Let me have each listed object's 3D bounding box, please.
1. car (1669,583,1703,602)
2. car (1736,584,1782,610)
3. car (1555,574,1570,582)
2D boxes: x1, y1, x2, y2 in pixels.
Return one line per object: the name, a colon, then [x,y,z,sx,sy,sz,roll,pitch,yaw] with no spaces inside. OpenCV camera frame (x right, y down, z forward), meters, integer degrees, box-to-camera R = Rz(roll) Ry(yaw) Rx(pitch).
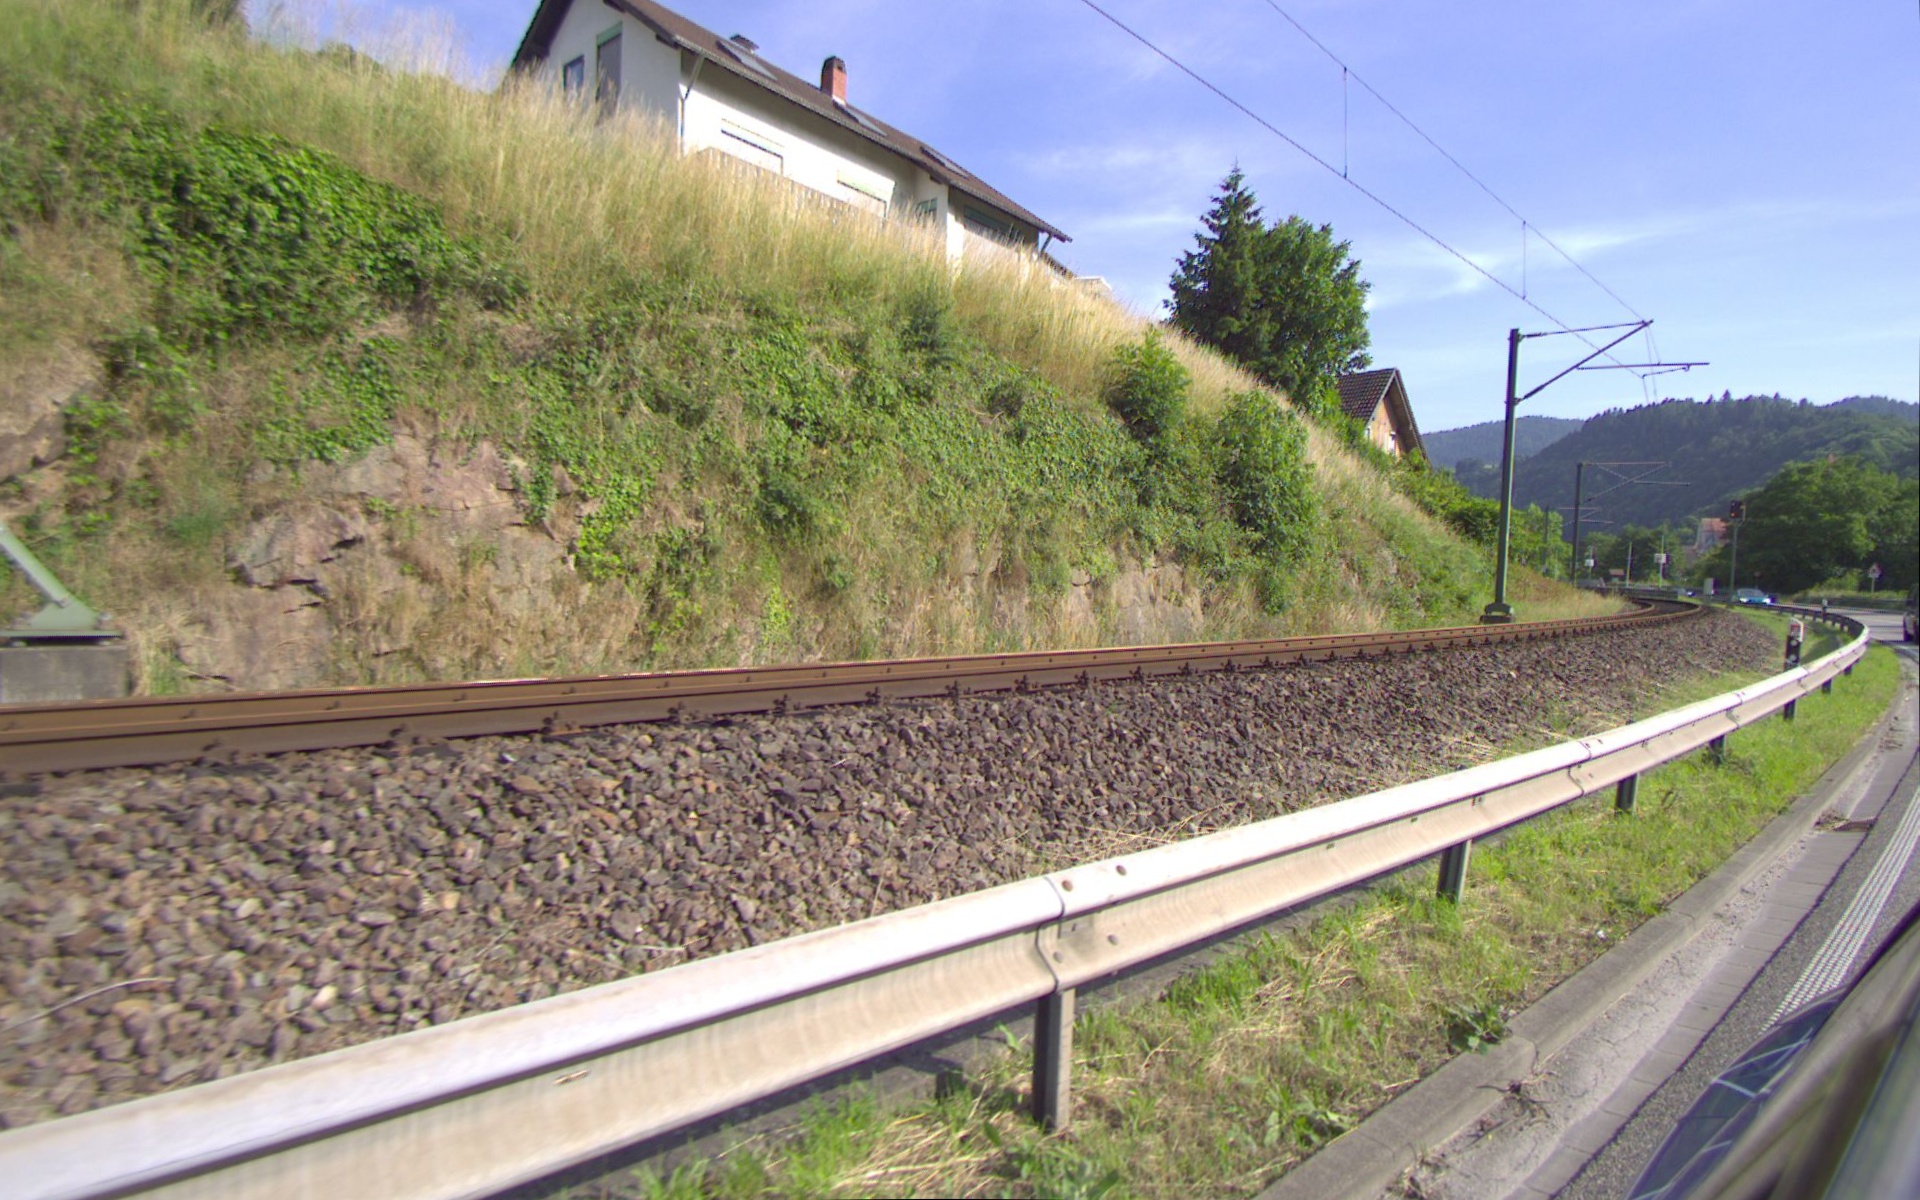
car: [72.270,-0.756,100.826,1.866,1.767,4.145,1,1,24]
car: [59.274,-0.257,75.178,1.868,1.766,4.140,1,2,27]
car: [109.744,-4.005,184.396,1.619,1.365,4.080,0,2,22]
